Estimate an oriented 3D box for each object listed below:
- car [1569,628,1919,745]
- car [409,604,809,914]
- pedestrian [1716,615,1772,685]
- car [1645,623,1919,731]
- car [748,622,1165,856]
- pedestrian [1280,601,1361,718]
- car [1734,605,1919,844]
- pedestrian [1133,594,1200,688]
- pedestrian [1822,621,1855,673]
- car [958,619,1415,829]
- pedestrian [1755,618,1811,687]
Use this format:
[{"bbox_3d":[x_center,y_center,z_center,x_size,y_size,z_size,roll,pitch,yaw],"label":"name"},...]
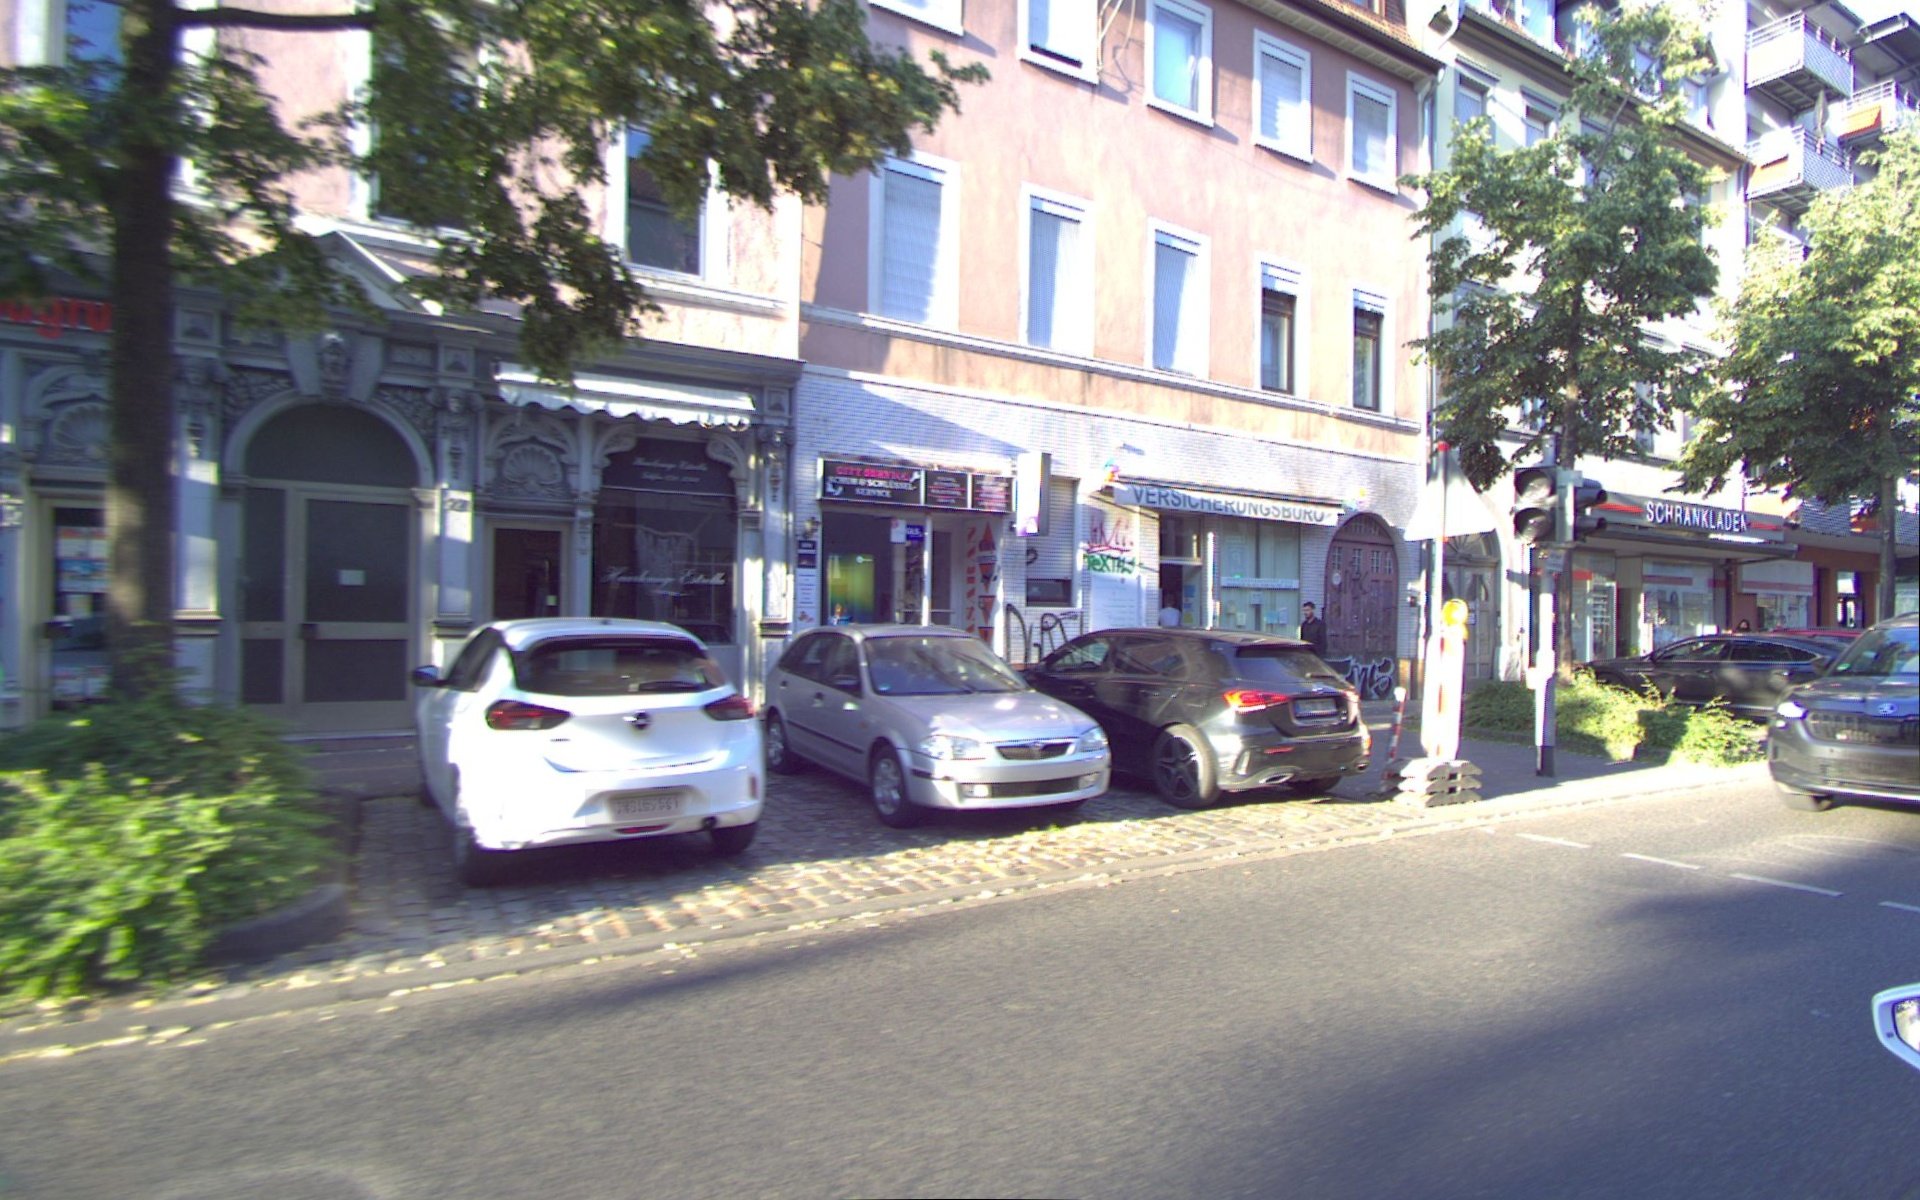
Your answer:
[{"bbox_3d":[12.475,1.232,15.902,1.801,1.426,4.546,1,0,-31],"label":"car"},{"bbox_3d":[-2.635,0.796,6.929,1.786,1.463,3.716,1,0,-33],"label":"car"},{"bbox_3d":[18.697,1.193,23.962,0.865,1.629,0.768,3,-1,-30],"label":"pedestrian"},{"bbox_3d":[14.661,1.247,17.561,1.862,1.557,4.053,1,0,-30],"label":"car"},{"bbox_3d":[-0.305,0.922,8.502,1.821,1.422,4.080,1,-1,-29],"label":"car"},{"bbox_3d":[5.577,0.909,15.550,0.865,1.744,0.768,3,-1,-30],"label":"pedestrian"},{"bbox_3d":[8.657,0.897,8.534,4.409,1.714,1.852,0,-1,-32],"label":"car"},{"bbox_3d":[3.518,0.694,17.194,0.804,1.538,0.874,2,-1,-11],"label":"pedestrian"},{"bbox_3d":[27.722,1.482,31.703,0.693,1.615,0.593,3,-3,-29],"label":"pedestrian"},{"bbox_3d":[1.862,0.946,9.467,1.864,1.422,4.083,1,0,-32],"label":"car"},{"bbox_3d":[19.118,1.222,23.330,0.865,1.548,0.730,3,-1,-30],"label":"pedestrian"}]
